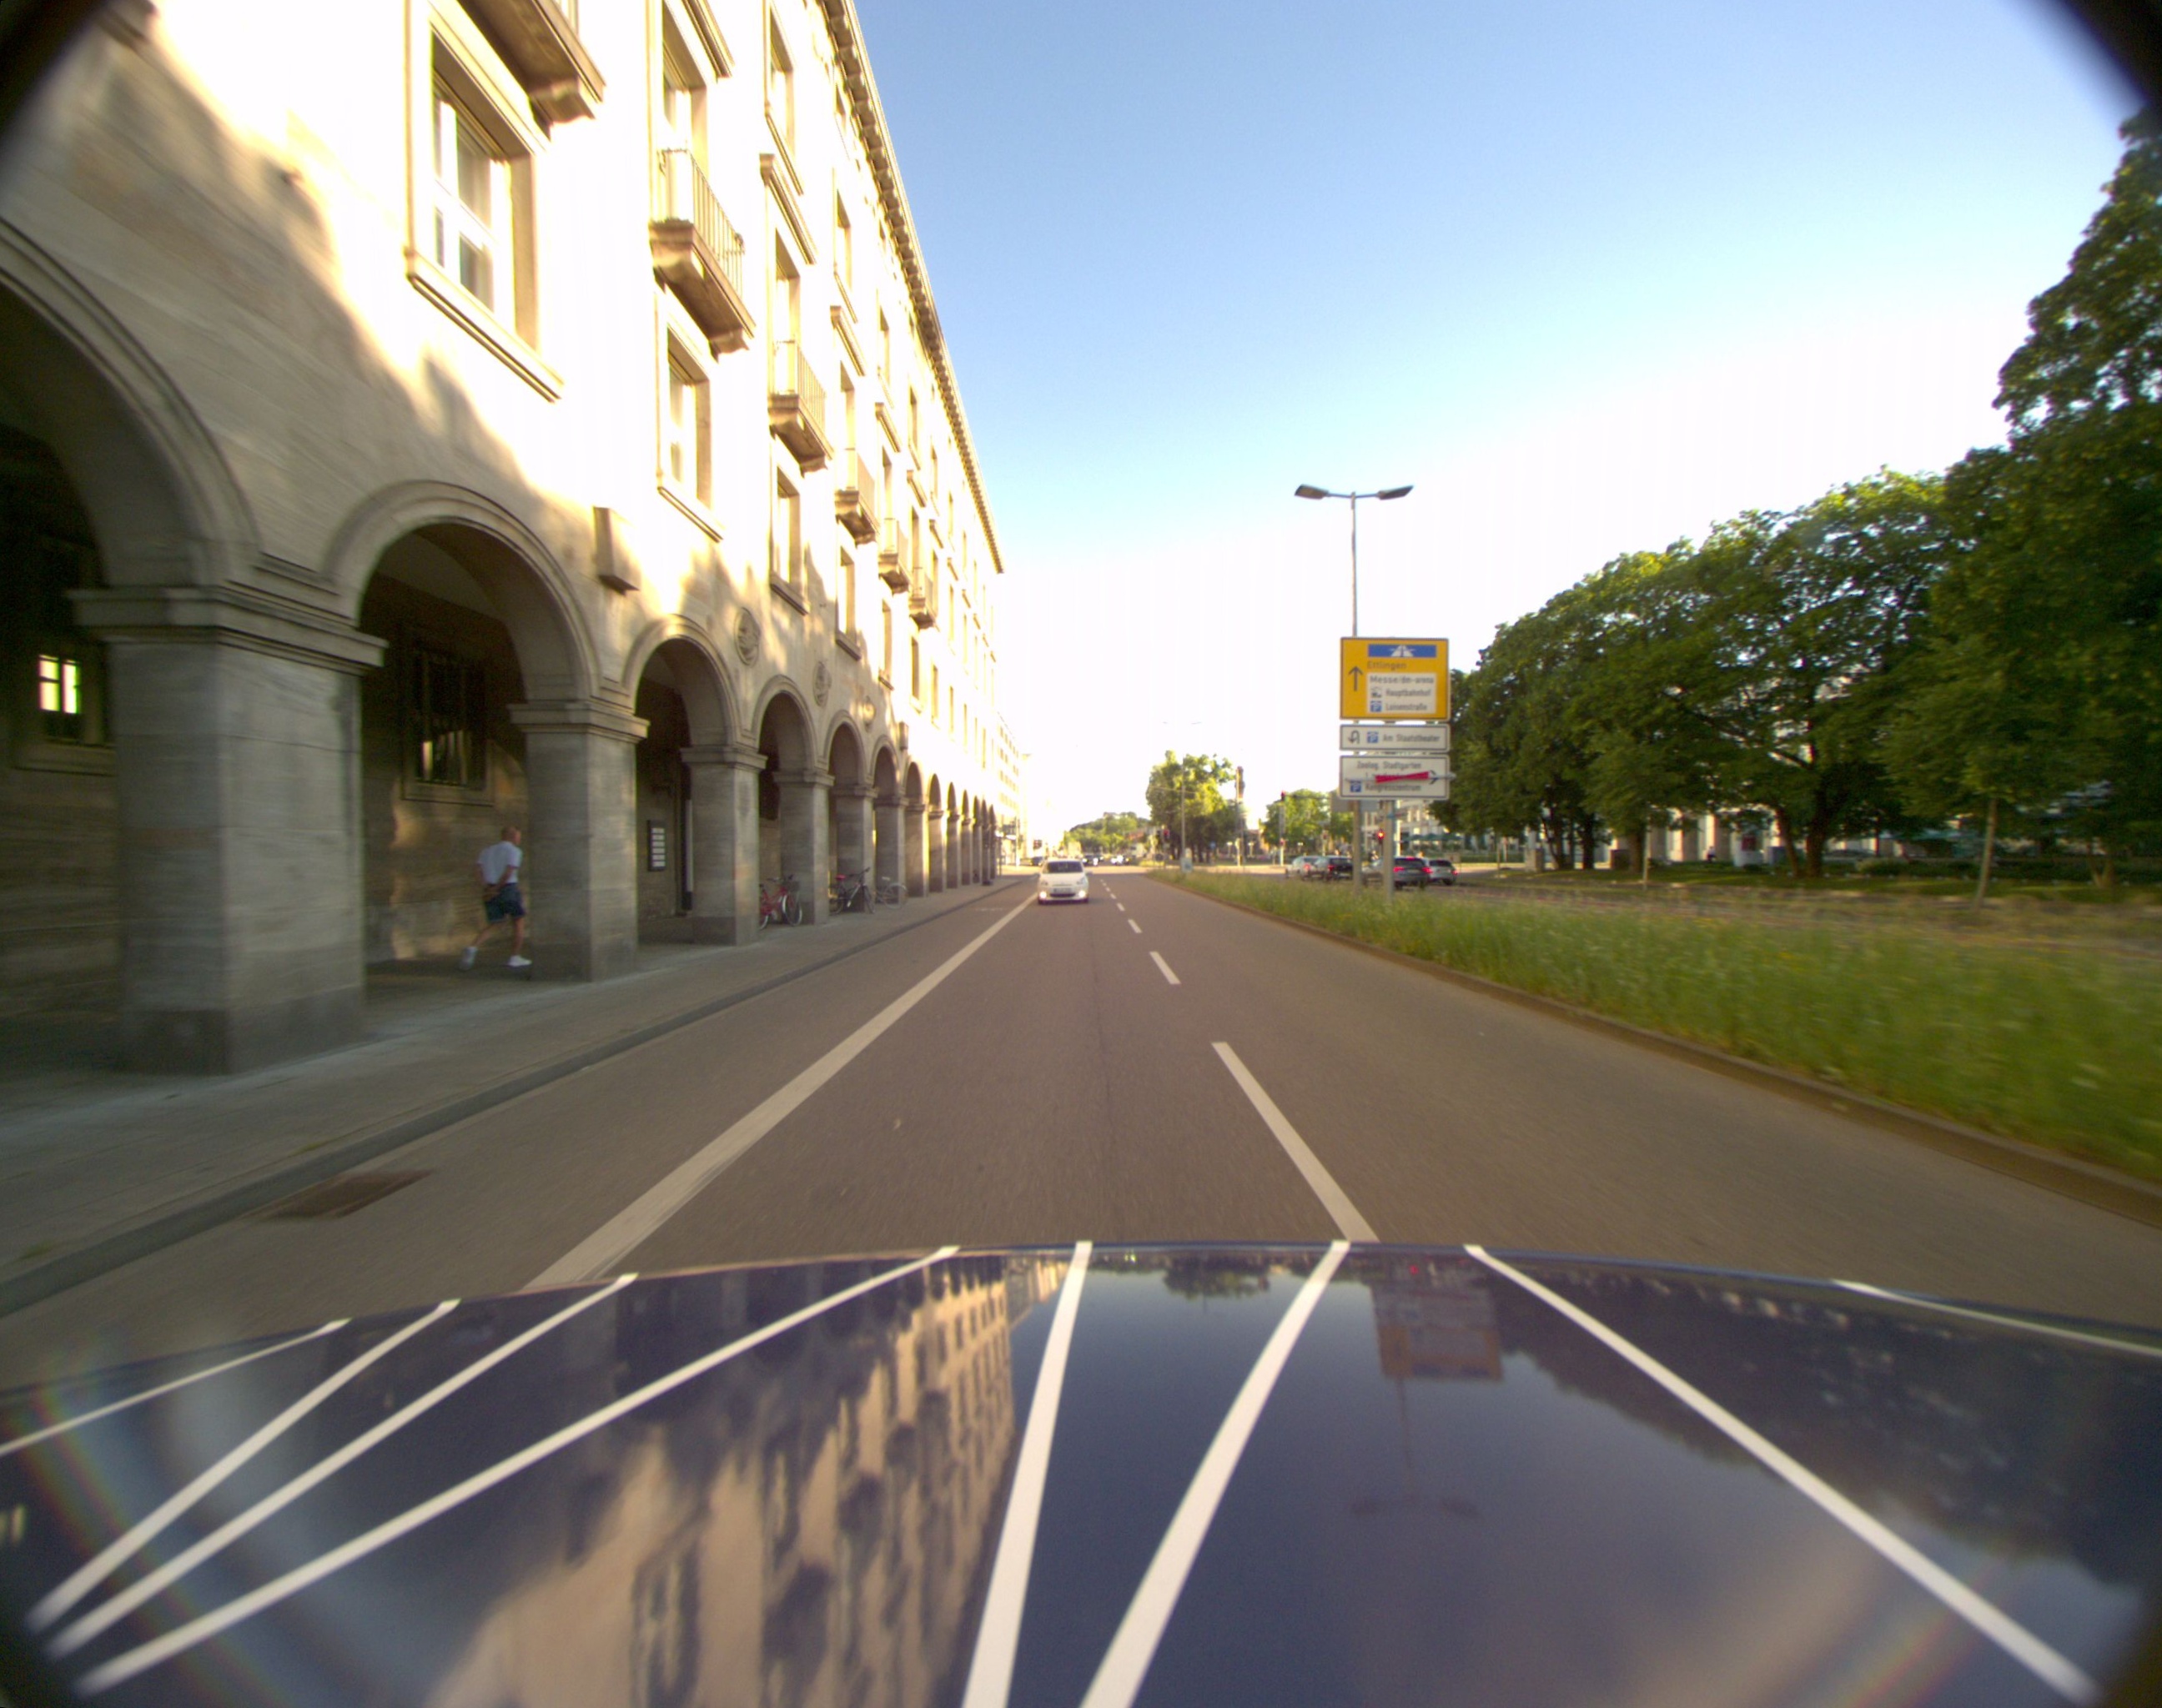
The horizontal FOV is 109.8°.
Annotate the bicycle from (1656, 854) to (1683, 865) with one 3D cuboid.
[{"bbox_3d":[47.640,0.462,61.534,0.770,0.884,1.605,0,0,-8],"label":"bicycle"}]

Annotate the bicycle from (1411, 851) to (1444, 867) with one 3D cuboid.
[{"bbox_3d":[28.130,0.421,61.741,2.310,1.232,0.779,2,-3,1],"label":"bicycle"}]

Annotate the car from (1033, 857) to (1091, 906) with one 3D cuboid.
[{"bbox_3d":[-0.569,0.880,25.656,1.678,1.455,3.765,-2,0,2],"label":"car"}]

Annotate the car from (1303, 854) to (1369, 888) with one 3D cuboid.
[{"bbox_3d":[13.319,0.831,40.010,1.998,1.666,4.549,0,0,1],"label":"car"}]

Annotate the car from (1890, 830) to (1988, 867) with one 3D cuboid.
[{"bbox_3d":[69.836,-0.476,61.912,5.086,2.935,2.599,0,1,-2],"label":"car"}]

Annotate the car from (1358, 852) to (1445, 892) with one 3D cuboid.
[{"bbox_3d":[13.428,0.711,32.100,1.998,1.555,4.060,0,0,1],"label":"car"}]

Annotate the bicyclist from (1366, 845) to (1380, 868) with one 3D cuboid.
[{"bbox_3d":[23.249,0.194,60.536,0.838,1.734,0.754,0,2,0],"label":"bicyclist"}]

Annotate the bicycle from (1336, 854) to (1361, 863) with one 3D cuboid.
[{"bbox_3d":[27.667,0.470,78.552,2.334,0.846,0.843,0,1,0],"label":"bicycle"}]

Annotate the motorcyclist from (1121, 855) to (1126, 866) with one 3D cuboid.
[{"bbox_3d":[5.371,0.838,96.847,0.607,1.438,0.736,0,1,0],"label":"motorcyclist"}]

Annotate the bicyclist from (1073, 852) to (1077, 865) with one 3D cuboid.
[{"bbox_3d":[-0.734,0.539,95.376,0.453,1.567,0.535,0,1,1],"label":"bicyclist"}]

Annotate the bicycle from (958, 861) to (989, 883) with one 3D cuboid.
[{"bbox_3d":[-5.746,0.936,40.609,1.708,1.126,0.665,2,1,41],"label":"bicycle"}]

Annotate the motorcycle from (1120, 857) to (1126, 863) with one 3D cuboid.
[{"bbox_3d":[5.347,0.766,96.785,0.623,0.791,1.309,0,0,1],"label":"motorcycle"}]

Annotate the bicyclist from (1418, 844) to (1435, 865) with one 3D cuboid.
[{"bbox_3d":[28.040,0.062,61.687,0.924,1.681,0.775,2,2,0],"label":"bicyclist"}]

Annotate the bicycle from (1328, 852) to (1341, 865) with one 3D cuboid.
[{"bbox_3d":[24.543,0.455,73.514,0.844,1.223,2.018,0,1,30],"label":"bicycle"}]

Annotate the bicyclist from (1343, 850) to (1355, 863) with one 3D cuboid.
[{"bbox_3d":[27.744,0.283,78.539,0.972,1.354,0.827,0,1,2],"label":"bicyclist"}]

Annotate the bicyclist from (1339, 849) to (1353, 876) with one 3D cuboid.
[{"bbox_3d":[16.811,0.540,48.210,0.782,1.669,0.839,1,1,15],"label":"bicyclist"}]

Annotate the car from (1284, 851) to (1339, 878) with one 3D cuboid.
[{"bbox_3d":[13.728,0.578,45.535,1.998,1.551,4.549,0,0,1],"label":"car"}]

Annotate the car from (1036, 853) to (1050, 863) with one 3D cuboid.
[{"bbox_3d":[-6.070,0.589,122.247,1.998,1.564,4.549,0,0,1],"label":"car"}]

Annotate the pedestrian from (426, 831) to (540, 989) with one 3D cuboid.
[{"bbox_3d":[-7.297,0.652,9.318,0.630,1.822,0.965,1,1,1],"label":"pedestrian"}]

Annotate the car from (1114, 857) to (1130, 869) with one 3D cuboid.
[{"bbox_3d":[5.526,1.239,102.852,1.998,1.564,4.549,0,0,1],"label":"car"}]

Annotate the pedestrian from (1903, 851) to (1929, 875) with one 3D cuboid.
[{"bbox_3d":[45.470,0.479,41.395,0.733,1.332,0.599,0,1,4],"label":"pedestrian"}]

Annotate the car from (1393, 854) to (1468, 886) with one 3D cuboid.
[{"bbox_3d":[18.284,0.794,39.983,1.938,1.517,4.587,1,0,2],"label":"car"}]

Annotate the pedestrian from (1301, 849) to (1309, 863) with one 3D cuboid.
[{"bbox_3d":[25.596,0.229,86.807,0.623,1.517,0.603,0,1,-4],"label":"pedestrian"}]

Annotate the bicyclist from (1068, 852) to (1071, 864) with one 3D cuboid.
[{"bbox_3d":[-1.444,0.523,95.234,0.358,1.567,0.535,0,1,1],"label":"bicyclist"}]

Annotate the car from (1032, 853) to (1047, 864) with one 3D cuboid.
[{"bbox_3d":[-6.316,0.676,116.186,1.998,1.564,4.549,0,0,1],"label":"car"}]

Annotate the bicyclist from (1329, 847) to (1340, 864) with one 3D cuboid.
[{"bbox_3d":[24.518,0.169,73.475,0.850,1.610,0.974,0,1,30],"label":"bicyclist"}]

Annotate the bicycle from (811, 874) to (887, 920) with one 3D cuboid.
[{"bbox_3d":[-5.753,1.048,18.935,0.610,1.044,1.717,2,1,44],"label":"bicycle"}]

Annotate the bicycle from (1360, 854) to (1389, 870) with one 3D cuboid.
[{"bbox_3d":[23.360,0.634,60.561,2.019,1.233,0.778,0,2,0],"label":"bicycle"}]

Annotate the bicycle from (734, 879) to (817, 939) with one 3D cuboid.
[{"bbox_3d":[-5.955,1.051,14.898,0.471,1.044,1.716,1,0,20],"label":"bicycle"}]

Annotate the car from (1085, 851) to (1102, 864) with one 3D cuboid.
[{"bbox_3d":[1.594,0.428,96.068,1.998,1.564,4.549,-1,0,1],"label":"car"}]

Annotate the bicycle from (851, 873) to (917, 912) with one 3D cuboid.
[{"bbox_3d":[-5.395,1.063,20.881,1.714,1.044,0.527,1,1,-14],"label":"bicycle"}]
